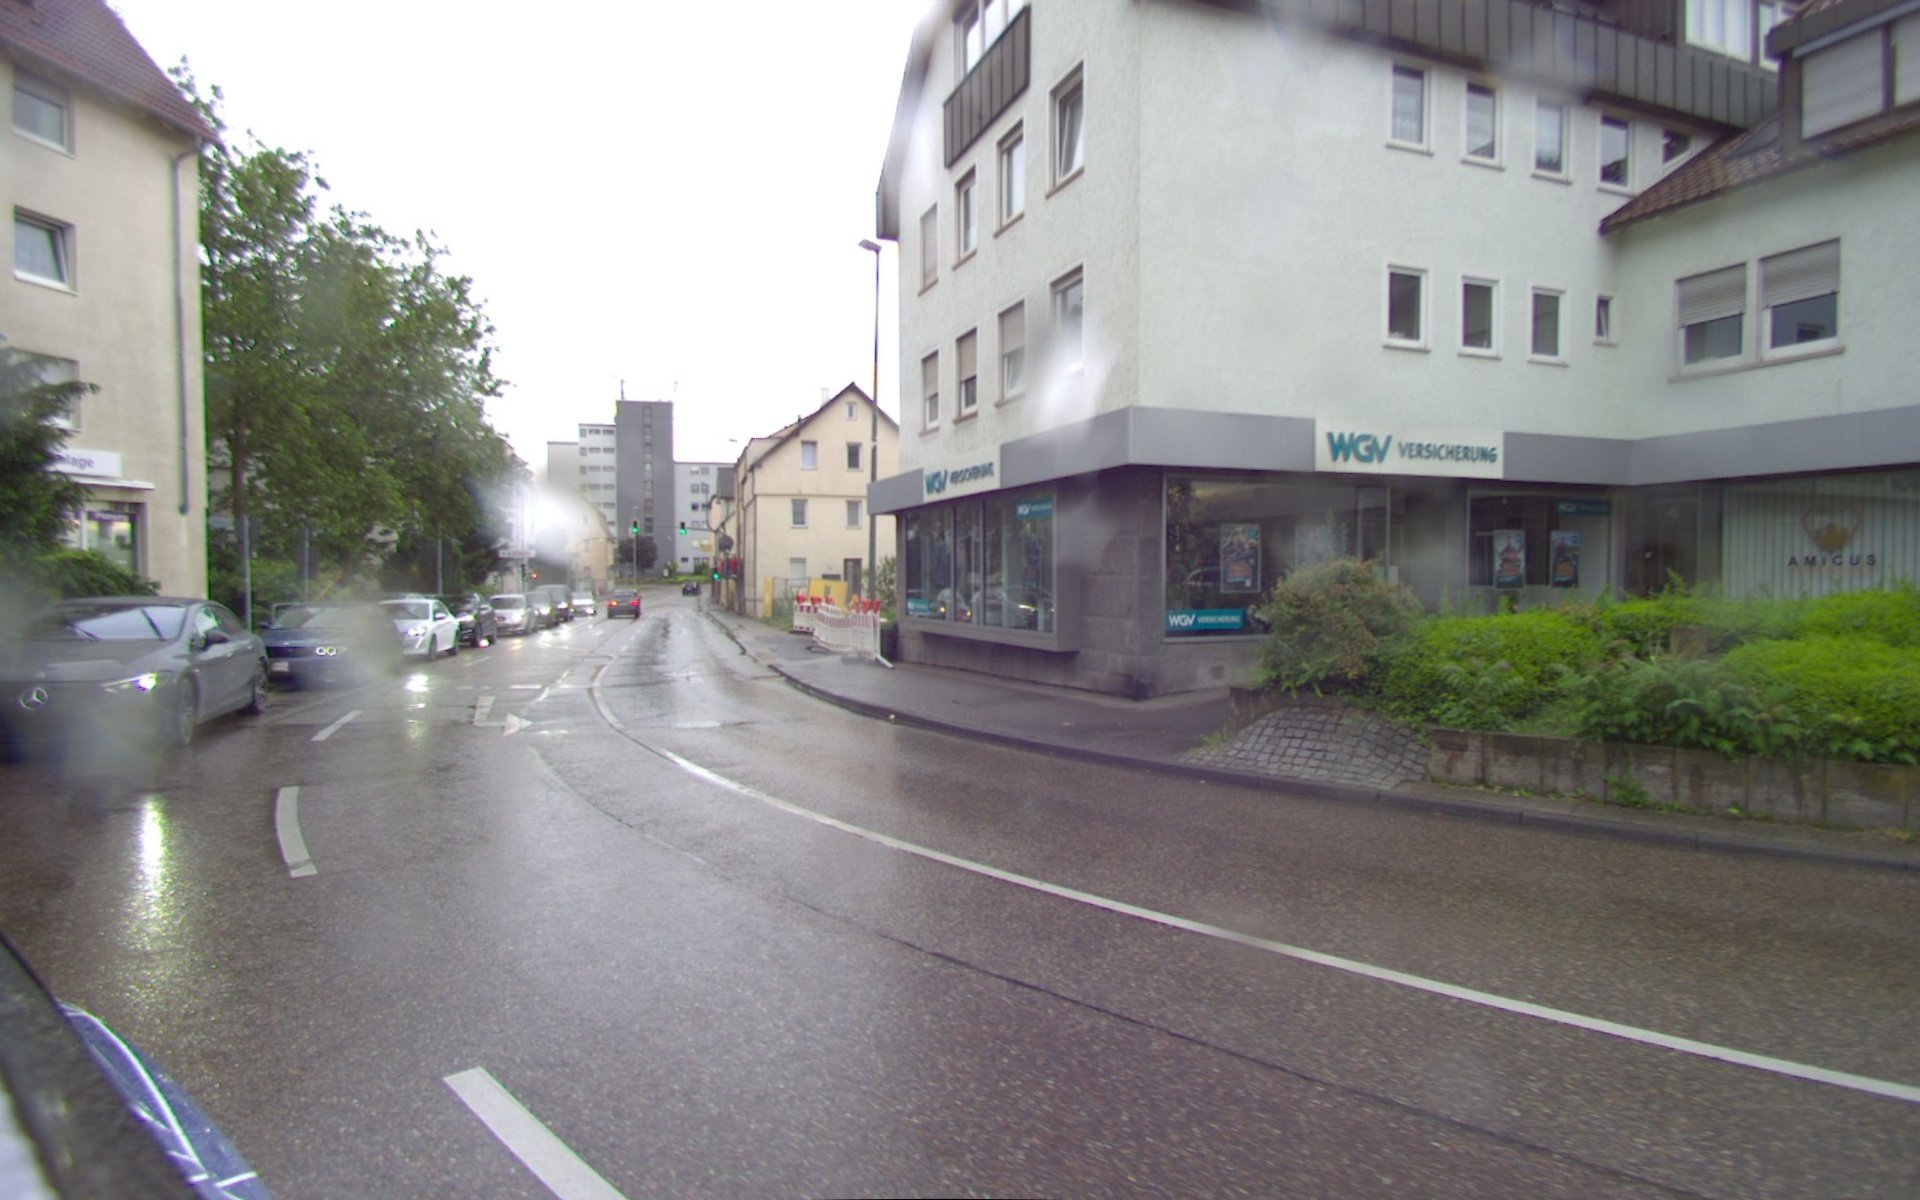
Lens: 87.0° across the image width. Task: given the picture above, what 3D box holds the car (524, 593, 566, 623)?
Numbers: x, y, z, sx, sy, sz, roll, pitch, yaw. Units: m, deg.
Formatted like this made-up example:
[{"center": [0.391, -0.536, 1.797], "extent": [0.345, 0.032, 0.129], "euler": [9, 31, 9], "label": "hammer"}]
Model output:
[{"center": [-21.991, 0.388, 53.711], "extent": [1.823, 1.489, 4.013], "euler": [-1, 1, -19], "label": "car"}]

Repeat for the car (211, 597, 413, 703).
[{"center": [-10.965, 0.736, 17.495], "extent": [1.745, 1.544, 4.391], "euler": [-1, 1, -16], "label": "car"}]

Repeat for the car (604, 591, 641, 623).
[{"center": [-19.373, 0.446, 58.185], "extent": [1.784, 1.577, 4.011], "euler": [-2, -2, -16], "label": "car"}]

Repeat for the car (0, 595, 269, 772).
[{"center": [-9.001, 0.713, 10.740], "extent": [1.965, 1.504, 4.328], "euler": [-1, 1, -24], "label": "car"}]

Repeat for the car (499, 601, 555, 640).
[{"center": [-19.076, 0.862, 44.722], "extent": [1.802, 1.563, 4.012], "euler": [-3, 1, -17], "label": "car"}]

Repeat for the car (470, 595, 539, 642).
[{"center": [-17.020, 0.647, 37.997], "extent": [1.814, 1.633, 4.012], "euler": [-1, 1, -17], "label": "car"}]

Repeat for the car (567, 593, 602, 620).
[{"center": [-23.879, 0.442, 64.402], "extent": [1.965, 1.564, 4.013], "euler": [-2, -1, -20], "label": "car"}]

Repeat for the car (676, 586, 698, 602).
[{"center": [-30.701, -0.674, 113.924], "extent": [1.801, 1.724, 3.802], "euler": [-1, 1, -7], "label": "car"}]

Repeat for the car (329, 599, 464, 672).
[{"center": [-13.261, 0.766, 24.083], "extent": [1.966, 1.464, 4.012], "euler": [-2, 1, -17], "label": "car"}]

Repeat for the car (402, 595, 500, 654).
[{"center": [-15.244, 0.688, 30.502], "extent": [1.784, 1.577, 4.011], "euler": [-2, 0, -14], "label": "car"}]
